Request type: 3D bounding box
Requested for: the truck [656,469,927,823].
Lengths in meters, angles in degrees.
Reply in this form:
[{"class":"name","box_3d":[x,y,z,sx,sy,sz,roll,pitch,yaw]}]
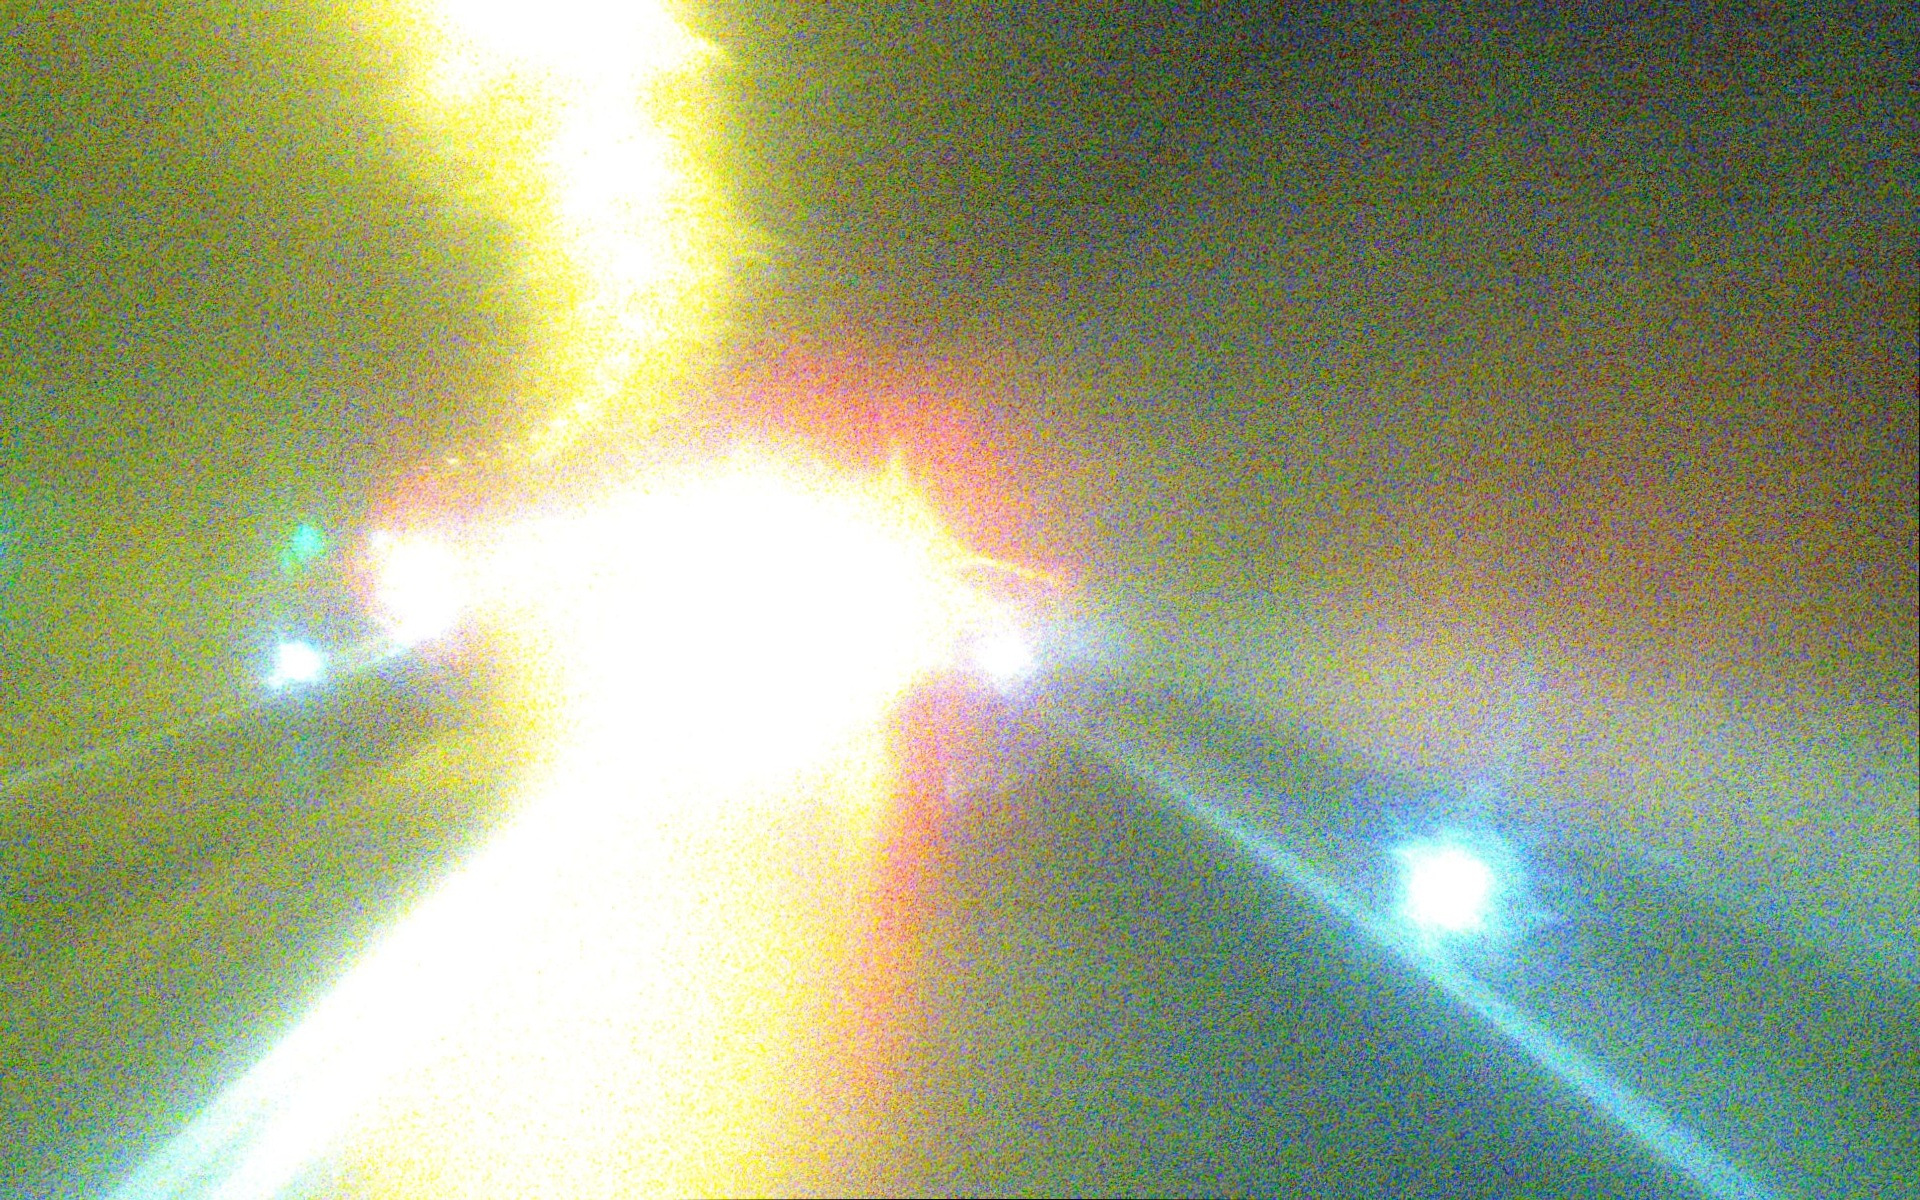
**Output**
[{"class":"truck","box_3d":[-1.587,0.334,33.384,2.262,3.000,7.416,1,1,-2]}]
